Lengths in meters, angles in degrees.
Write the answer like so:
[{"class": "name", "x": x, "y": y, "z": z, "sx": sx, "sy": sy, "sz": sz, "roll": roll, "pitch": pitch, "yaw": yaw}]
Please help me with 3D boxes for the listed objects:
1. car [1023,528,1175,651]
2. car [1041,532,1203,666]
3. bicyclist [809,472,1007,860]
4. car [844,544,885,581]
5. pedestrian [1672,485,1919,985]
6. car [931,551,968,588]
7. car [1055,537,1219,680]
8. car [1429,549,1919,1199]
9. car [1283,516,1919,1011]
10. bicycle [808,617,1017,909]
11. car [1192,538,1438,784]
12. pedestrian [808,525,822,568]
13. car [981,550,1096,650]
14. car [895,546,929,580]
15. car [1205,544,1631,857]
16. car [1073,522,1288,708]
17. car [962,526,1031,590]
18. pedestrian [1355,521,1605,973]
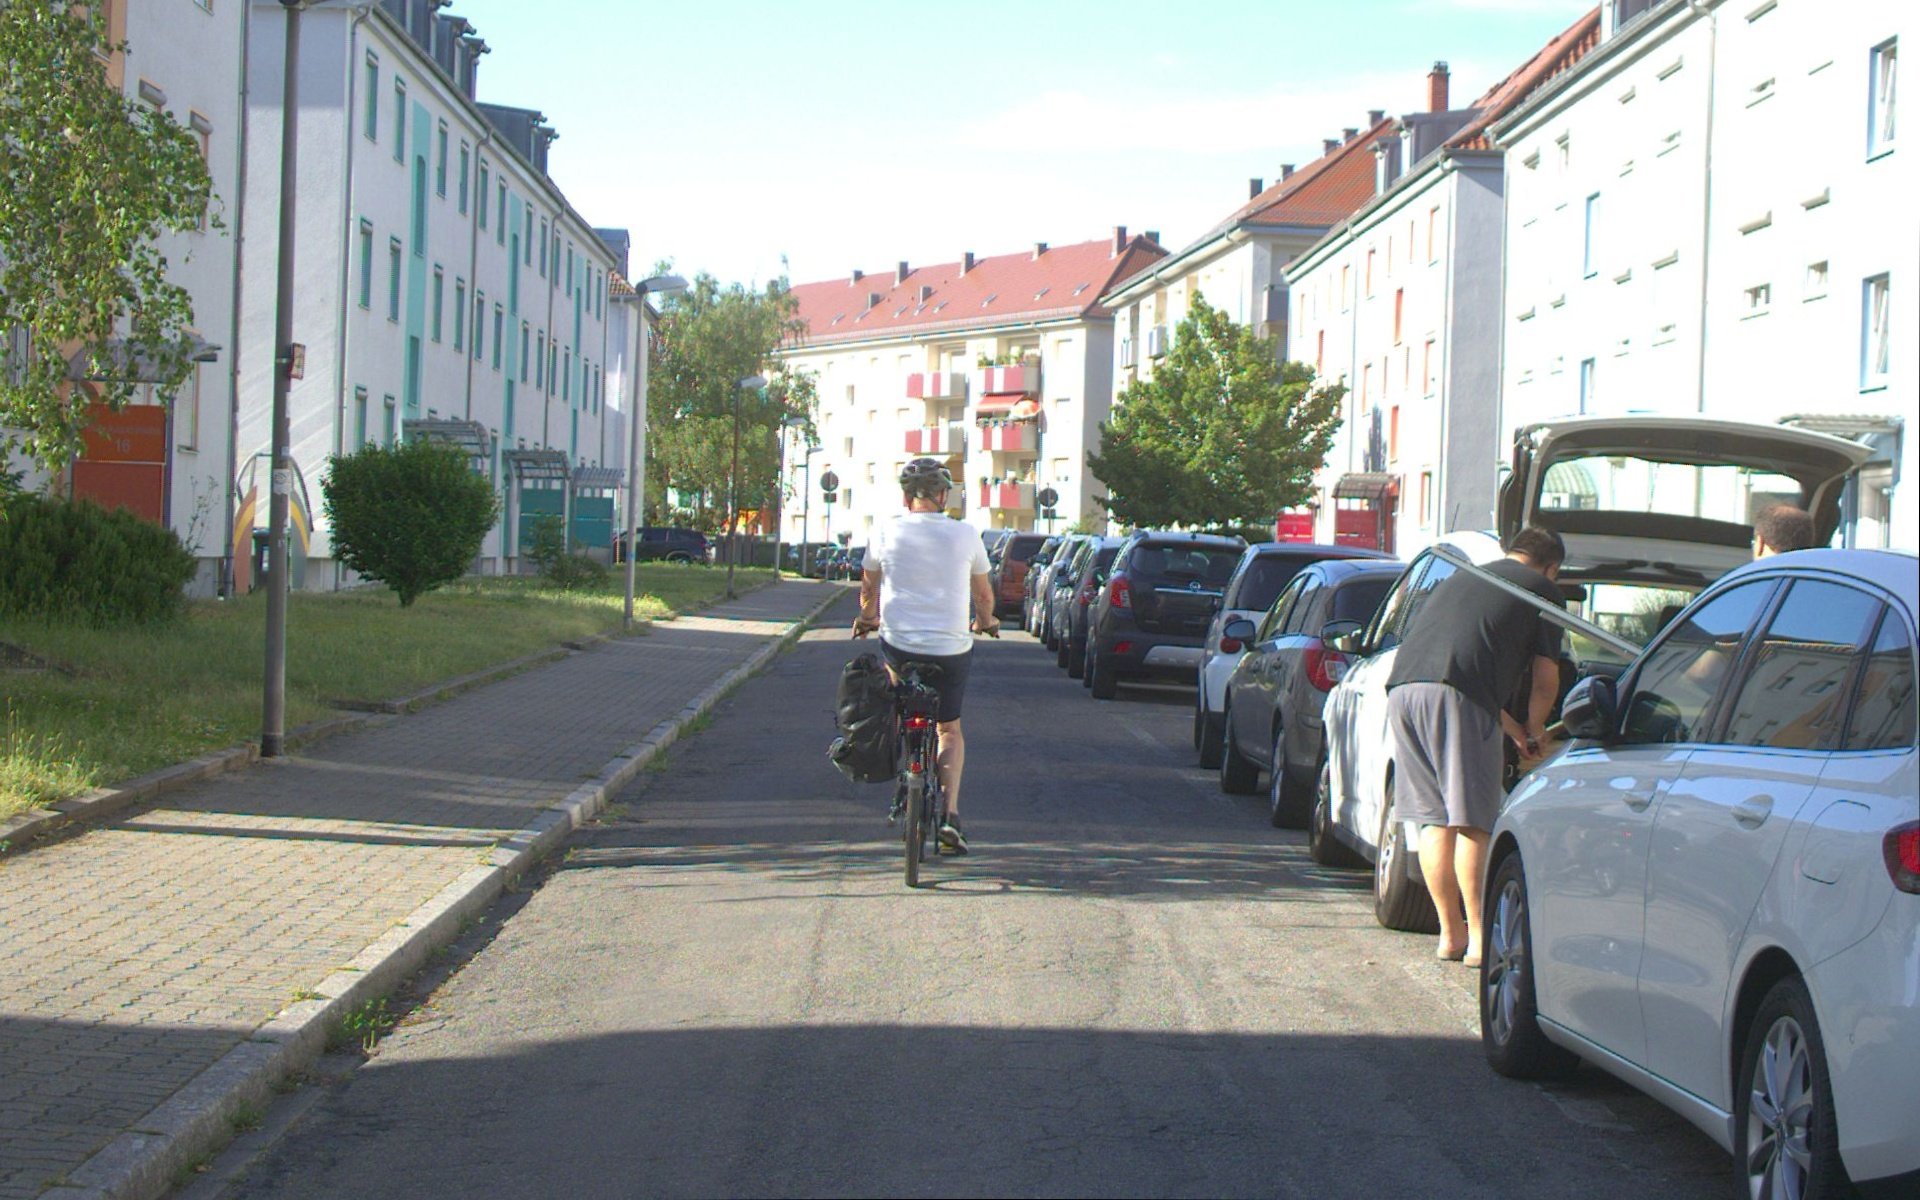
[{"class": "car", "x": 2.014, "y": -0.196, "z": 51.064, "sx": 1.750, "sy": 1.612, "sz": 4.453, "roll": 4, "pitch": 1, "yaw": -3}, {"class": "car", "x": 2.067, "y": -0.055, "z": 45.013, "sx": 1.690, "sy": 1.569, "sz": 4.435, "roll": 3, "pitch": 1, "yaw": -2}, {"class": "bicyclist", "x": -0.239, "y": 0.274, "z": 15.046, "sx": 0.808, "sy": 1.638, "sz": 0.899, "roll": 1, "pitch": 1, "yaw": -3}, {"class": "car", "x": -3.652, "y": -1.434, "z": 131.243, "sx": 1.469, "sy": 1.331, "sz": 3.141, "roll": 2, "pitch": 1, "yaw": -3}, {"class": "pedestrian", "x": 2.947, "y": 0.449, "z": 11.876, "sx": 0.819, "sy": 1.681, "sz": 0.604, "roll": 0, "pitch": 1, "yaw": -1}, {"class": "car", "x": -0.468, "y": -1.314, "z": 147.561, "sx": 1.381, "sy": 1.492, "sz": 3.077, "roll": 2, "pitch": 1, "yaw": -3}, {"class": "car", "x": 1.981, "y": 0.056, "z": 39.406, "sx": 1.641, "sy": 1.493, "sz": 4.157, "roll": 2, "pitch": 1, "yaw": 0}, {"class": "car", "x": 2.447, "y": 0.677, "z": 8.226, "sx": 1.772, "sy": 1.499, "sz": 4.481, "roll": 3, "pitch": 1, "yaw": -3}, {"class": "car", "x": 2.585, "y": 0.524, "z": 14.424, "sx": 1.993, "sy": 1.607, "sz": 4.995, "roll": 4, "pitch": 1, "yaw": 1}, {"class": "bicycle", "x": -0.239, "y": 0.667, "z": 14.961, "sx": 0.808, "sy": 1.124, "sz": 2.102, "roll": 1, "pitch": 1, "yaw": -3}, {"class": "car", "x": 2.435, "y": 0.376, "z": 24.136, "sx": 1.480, "sy": 1.524, "sz": 2.940, "roll": 4, "pitch": 1, "yaw": 3}, {"class": "pedestrian", "x": -5.360, "y": -1.992, "z": 127.187, "sx": 0.434, "sy": 1.569, "sz": 0.543, "roll": 2, "pitch": 1, "yaw": -1}, {"class": "car", "x": 1.420, "y": -0.032, "z": 63.663, "sx": 1.862, "sy": 1.662, "sz": 4.127, "roll": 4, "pitch": 1, "yaw": -1}, {"class": "car", "x": -2.246, "y": -1.748, "z": 160.189, "sx": 1.469, "sy": 1.511, "sz": 3.077, "roll": 2, "pitch": 1, "yaw": -3}, {"class": "car", "x": 2.496, "y": 0.484, "z": 19.662, "sx": 1.693, "sy": 1.486, "sz": 3.985, "roll": 4, "pitch": 1, "yaw": -2}, {"class": "car", "x": 2.133, "y": 0.096, "z": 34.309, "sx": 1.783, "sy": 1.642, "sz": 4.469, "roll": 3, "pitch": 1, "yaw": 0}, {"class": "car", "x": 1.020, "y": -1.218, "z": 98.272, "sx": 1.674, "sy": 1.733, "sz": 3.943, "roll": 3, "pitch": 1, "yaw": -3}, {"class": "pedestrian", "x": 1.861, "y": 0.504, "z": 12.411, "sx": 0.739, "sy": 1.569, "sz": 0.880, "roll": 0, "pitch": 1, "yaw": -1}]
